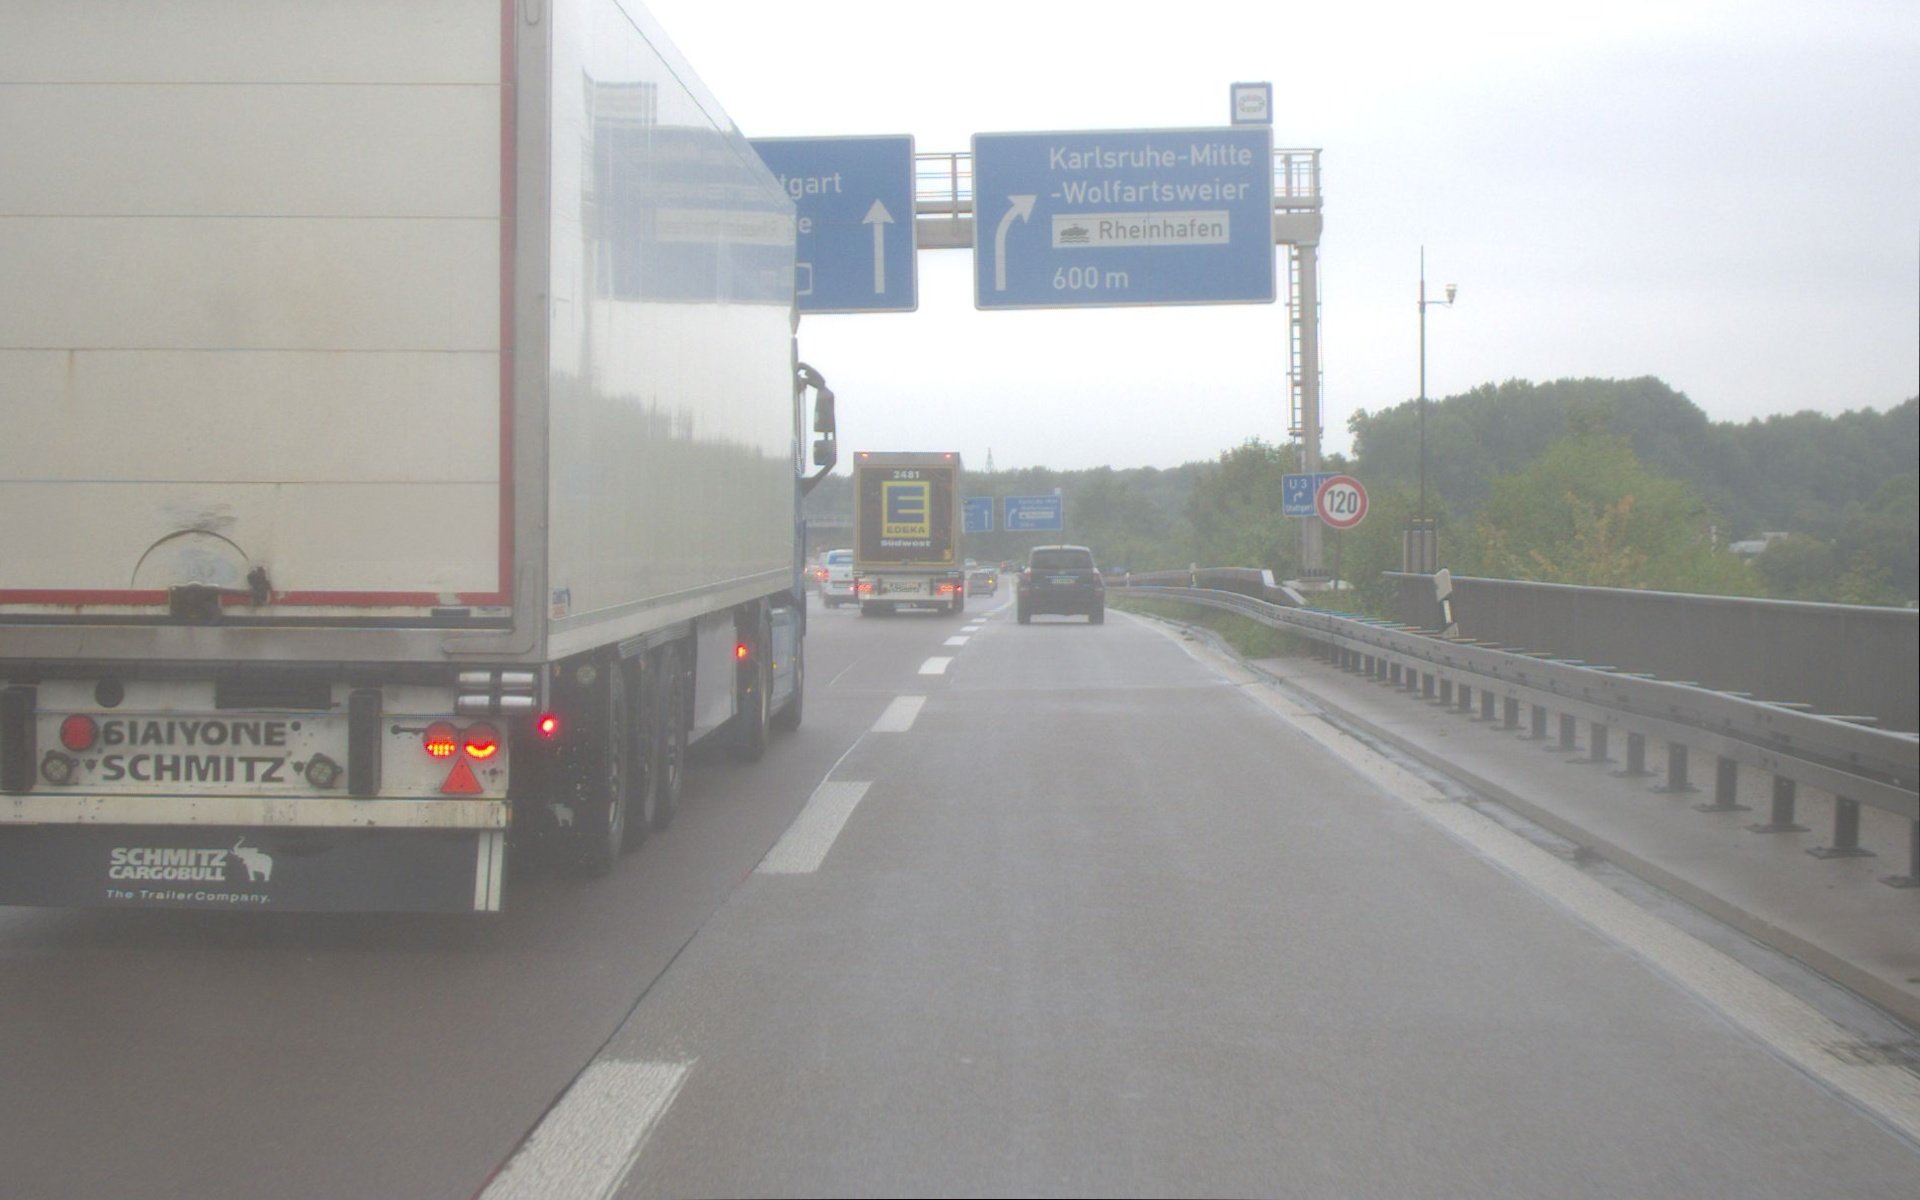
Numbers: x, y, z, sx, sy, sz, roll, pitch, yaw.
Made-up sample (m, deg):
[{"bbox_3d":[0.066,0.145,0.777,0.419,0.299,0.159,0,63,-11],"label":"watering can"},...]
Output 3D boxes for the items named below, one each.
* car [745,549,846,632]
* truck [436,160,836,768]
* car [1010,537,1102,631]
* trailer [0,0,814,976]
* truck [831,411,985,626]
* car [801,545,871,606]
[{"bbox_3d":[-3.528,-0.224,74.456,1.894,1.718,4.000,1,1,1],"label":"car"},{"bbox_3d":[-2.350,-0.989,26.857,2.342,4.143,6.346,1,1,1],"label":"truck"},{"bbox_3d":[2.102,-0.358,74.158,1.897,1.943,4.000,1,1,2],"label":"car"},{"bbox_3d":[-2.495,-0.878,19.629,2.342,4.143,14.827,1,1,1],"label":"trailer"},{"bbox_3d":[-1.234,-2.037,88.555,3.534,5.165,9.892,1,1,1],"label":"truck"},{"bbox_3d":[-4.102,-0.820,114.152,2.049,1.943,4.000,1,1,1],"label":"car"}]
